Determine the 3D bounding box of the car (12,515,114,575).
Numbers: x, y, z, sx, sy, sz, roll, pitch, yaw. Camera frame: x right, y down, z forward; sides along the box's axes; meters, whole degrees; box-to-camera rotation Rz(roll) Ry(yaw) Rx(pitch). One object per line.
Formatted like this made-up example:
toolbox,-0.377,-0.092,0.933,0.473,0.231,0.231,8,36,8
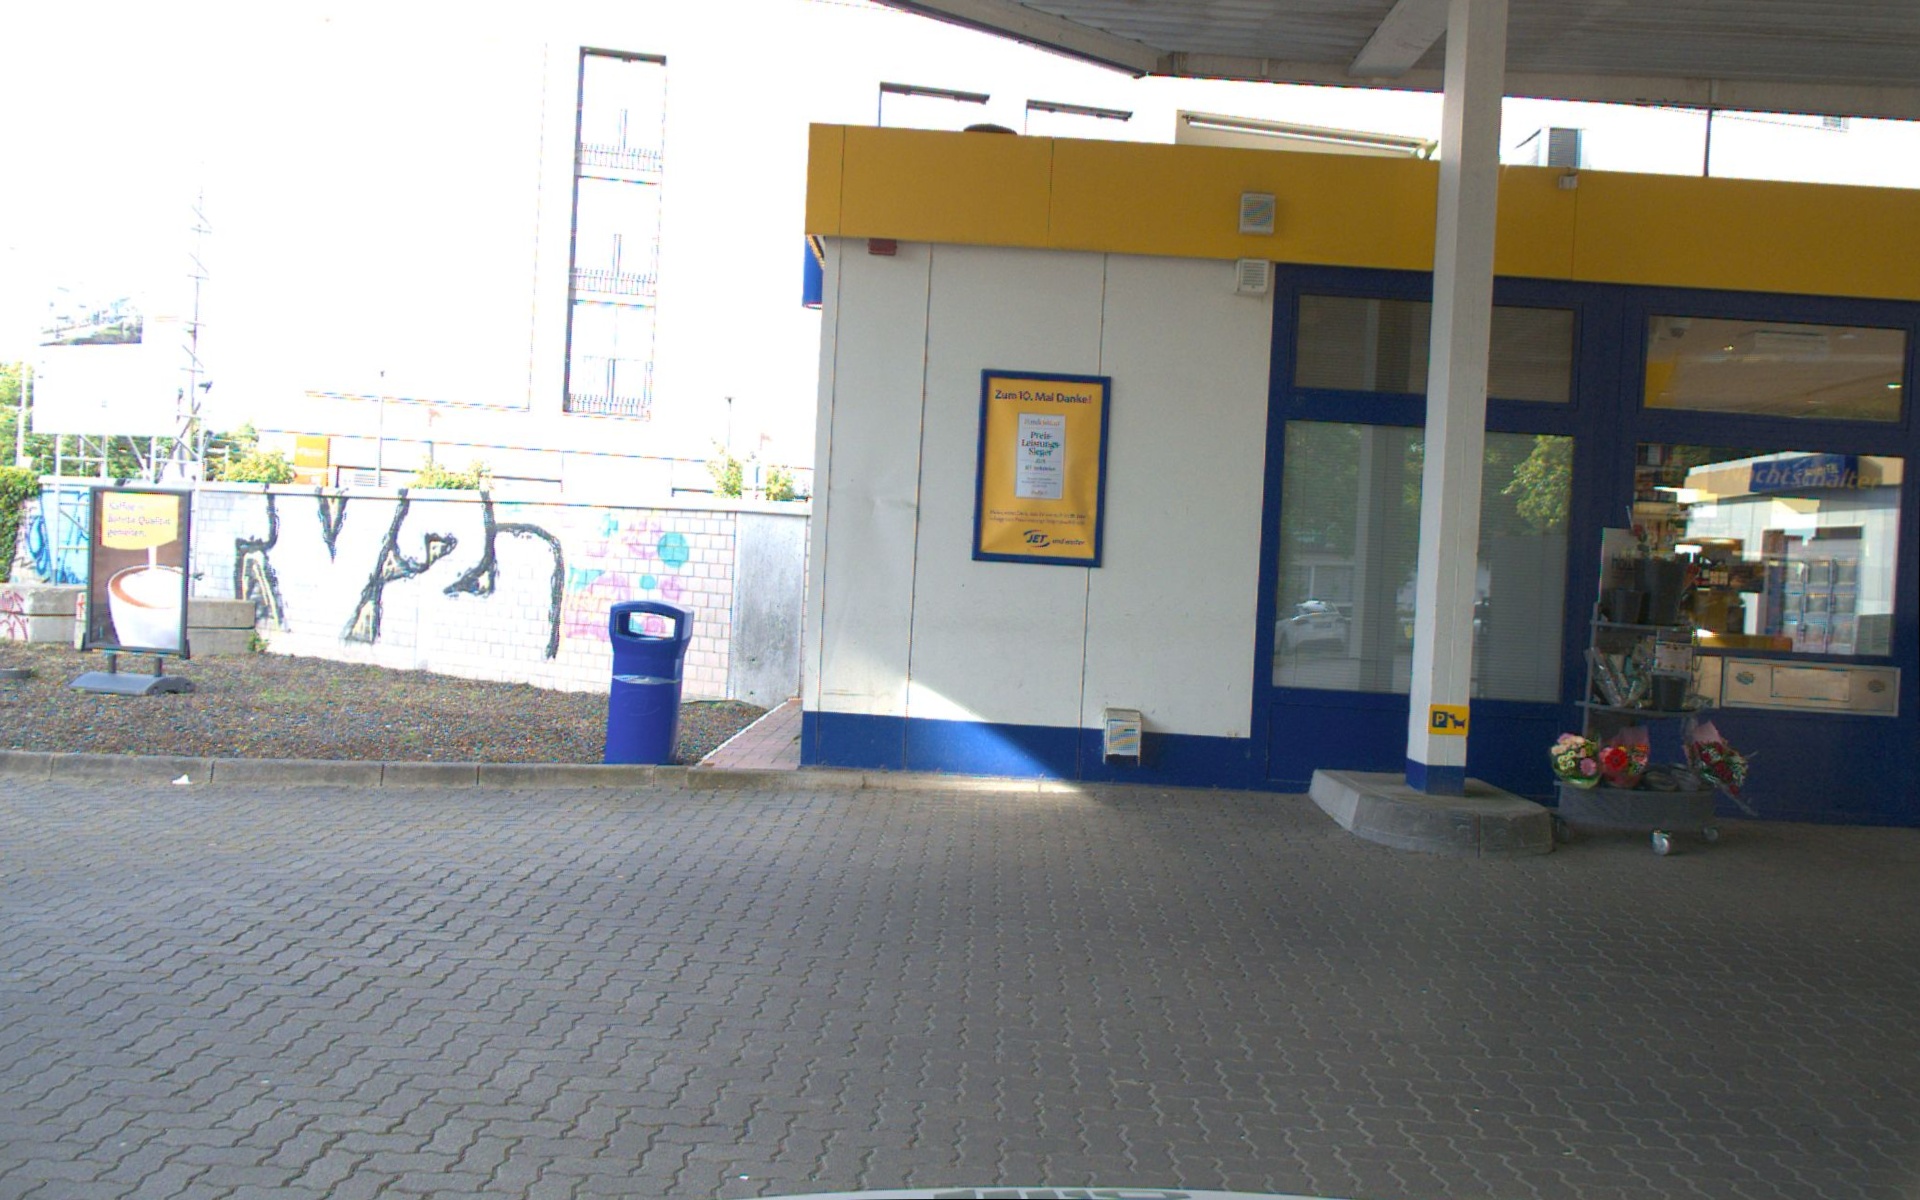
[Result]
car,-26.310,-1.602,48.626,1.736,1.569,4.112,4,1,-17
